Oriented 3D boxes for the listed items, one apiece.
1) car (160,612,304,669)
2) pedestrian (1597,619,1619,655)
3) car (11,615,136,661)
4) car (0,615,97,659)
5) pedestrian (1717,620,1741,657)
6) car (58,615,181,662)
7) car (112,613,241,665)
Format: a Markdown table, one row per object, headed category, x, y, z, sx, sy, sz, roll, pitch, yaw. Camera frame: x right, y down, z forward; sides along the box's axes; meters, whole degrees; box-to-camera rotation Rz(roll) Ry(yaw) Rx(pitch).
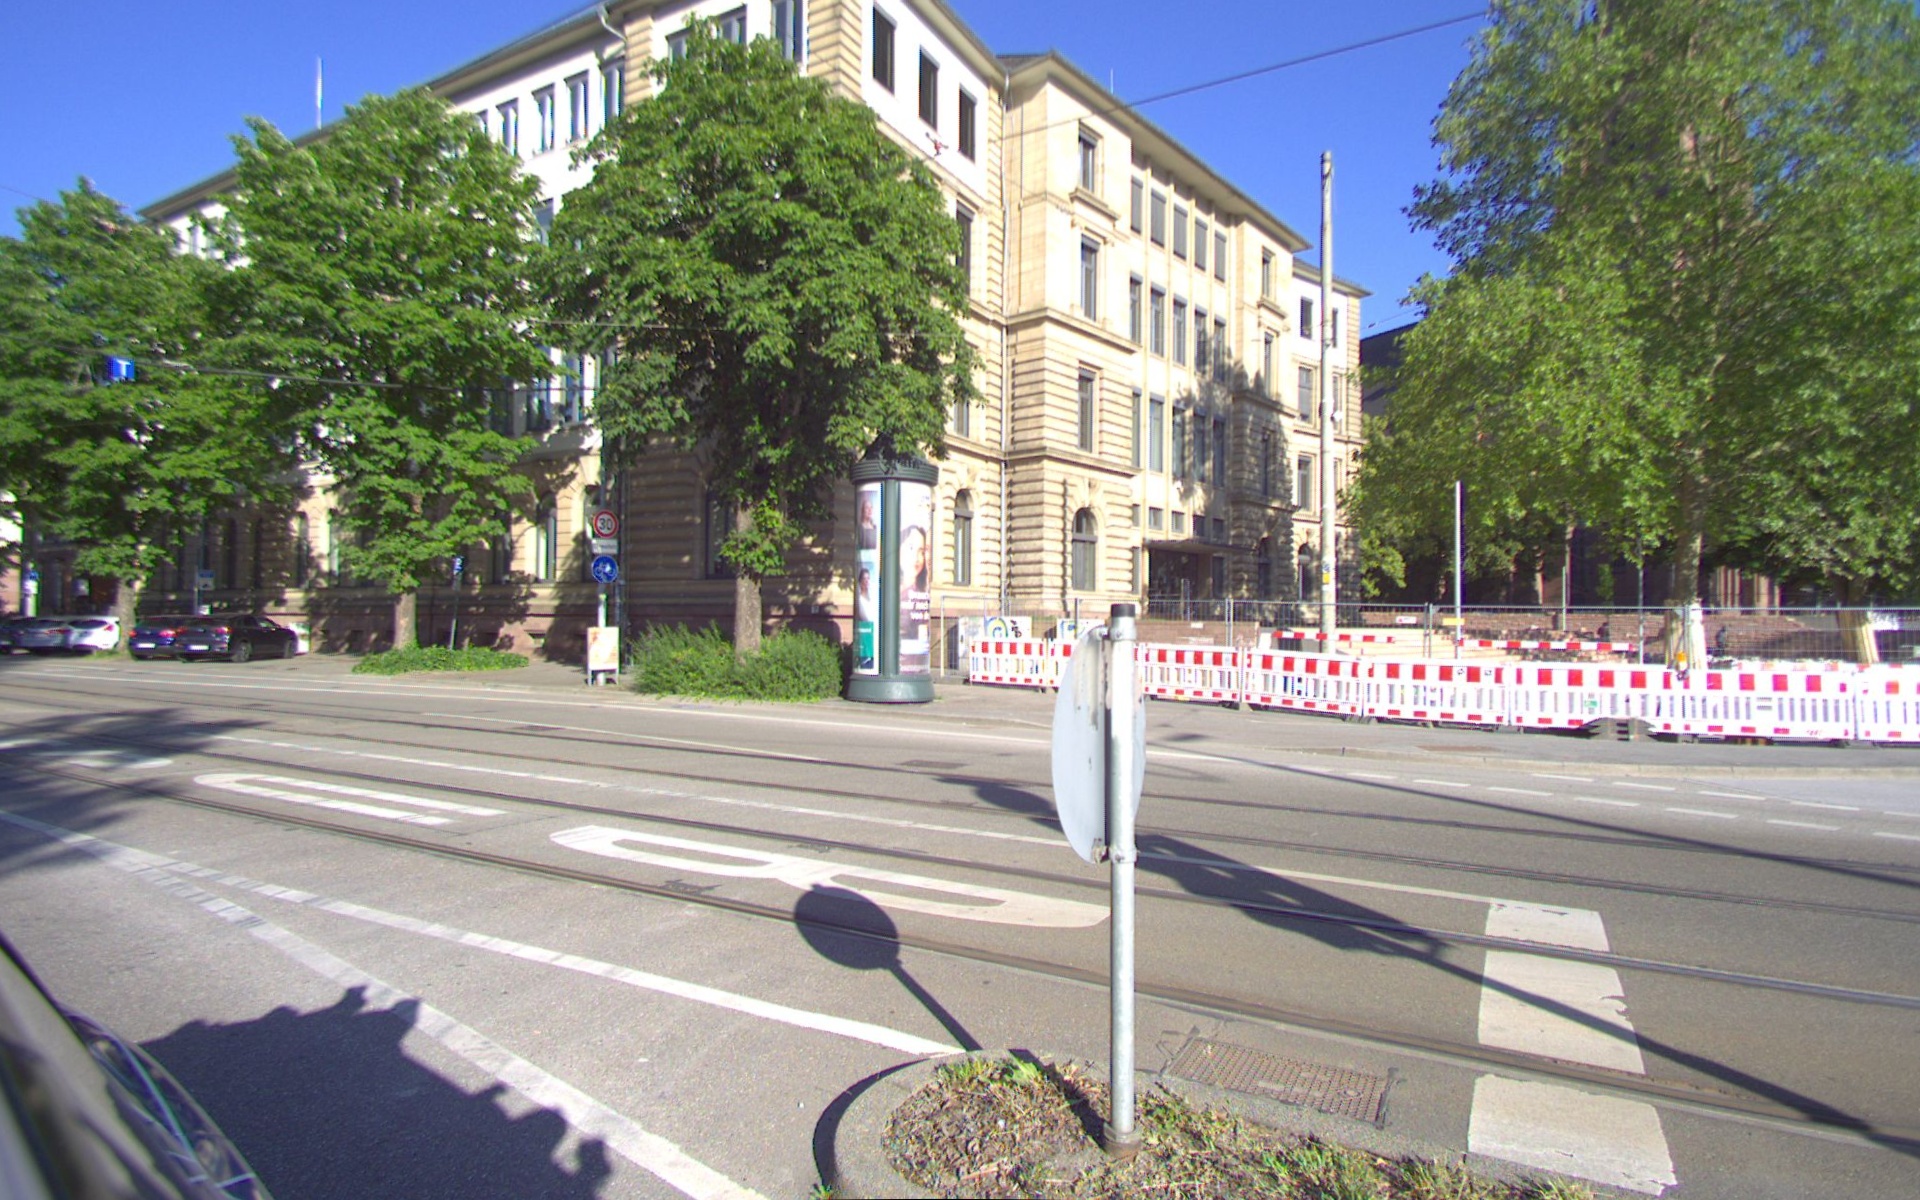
| category | x | y | z | sx | sy | sz | roll | pitch | yaw |
| --- | --- | --- | --- | --- | --- | --- | --- | --- | --- |
| car | -23.618 | 1.262 | 33.038 | 1.819 | 1.643 | 4.184 | -1 | 0 | -3 |
| pedestrian | 30.581 | 1.729 | 47.754 | 0.627 | 1.660 | 0.677 | 1 | -2 | -37 |
| car | -33.231 | 1.393 | 38.068 | 1.626 | 1.572 | 3.652 | -1 | 0 | -3 |
| car | -36.247 | 1.415 | 39.776 | 1.626 | 1.572 | 3.652 | -1 | 0 | -3 |
| pedestrian | 34.971 | 1.752 | 46.021 | 0.666 | 1.660 | 0.762 | 1 | -2 | -45 |
| car | -30.918 | 1.375 | 37.357 | 1.626 | 1.572 | 3.652 | -1 | 0 | -3 |
| car | -26.247 | 1.272 | 34.040 | 1.626 | 1.572 | 3.652 | -1 | 0 | -3 |
